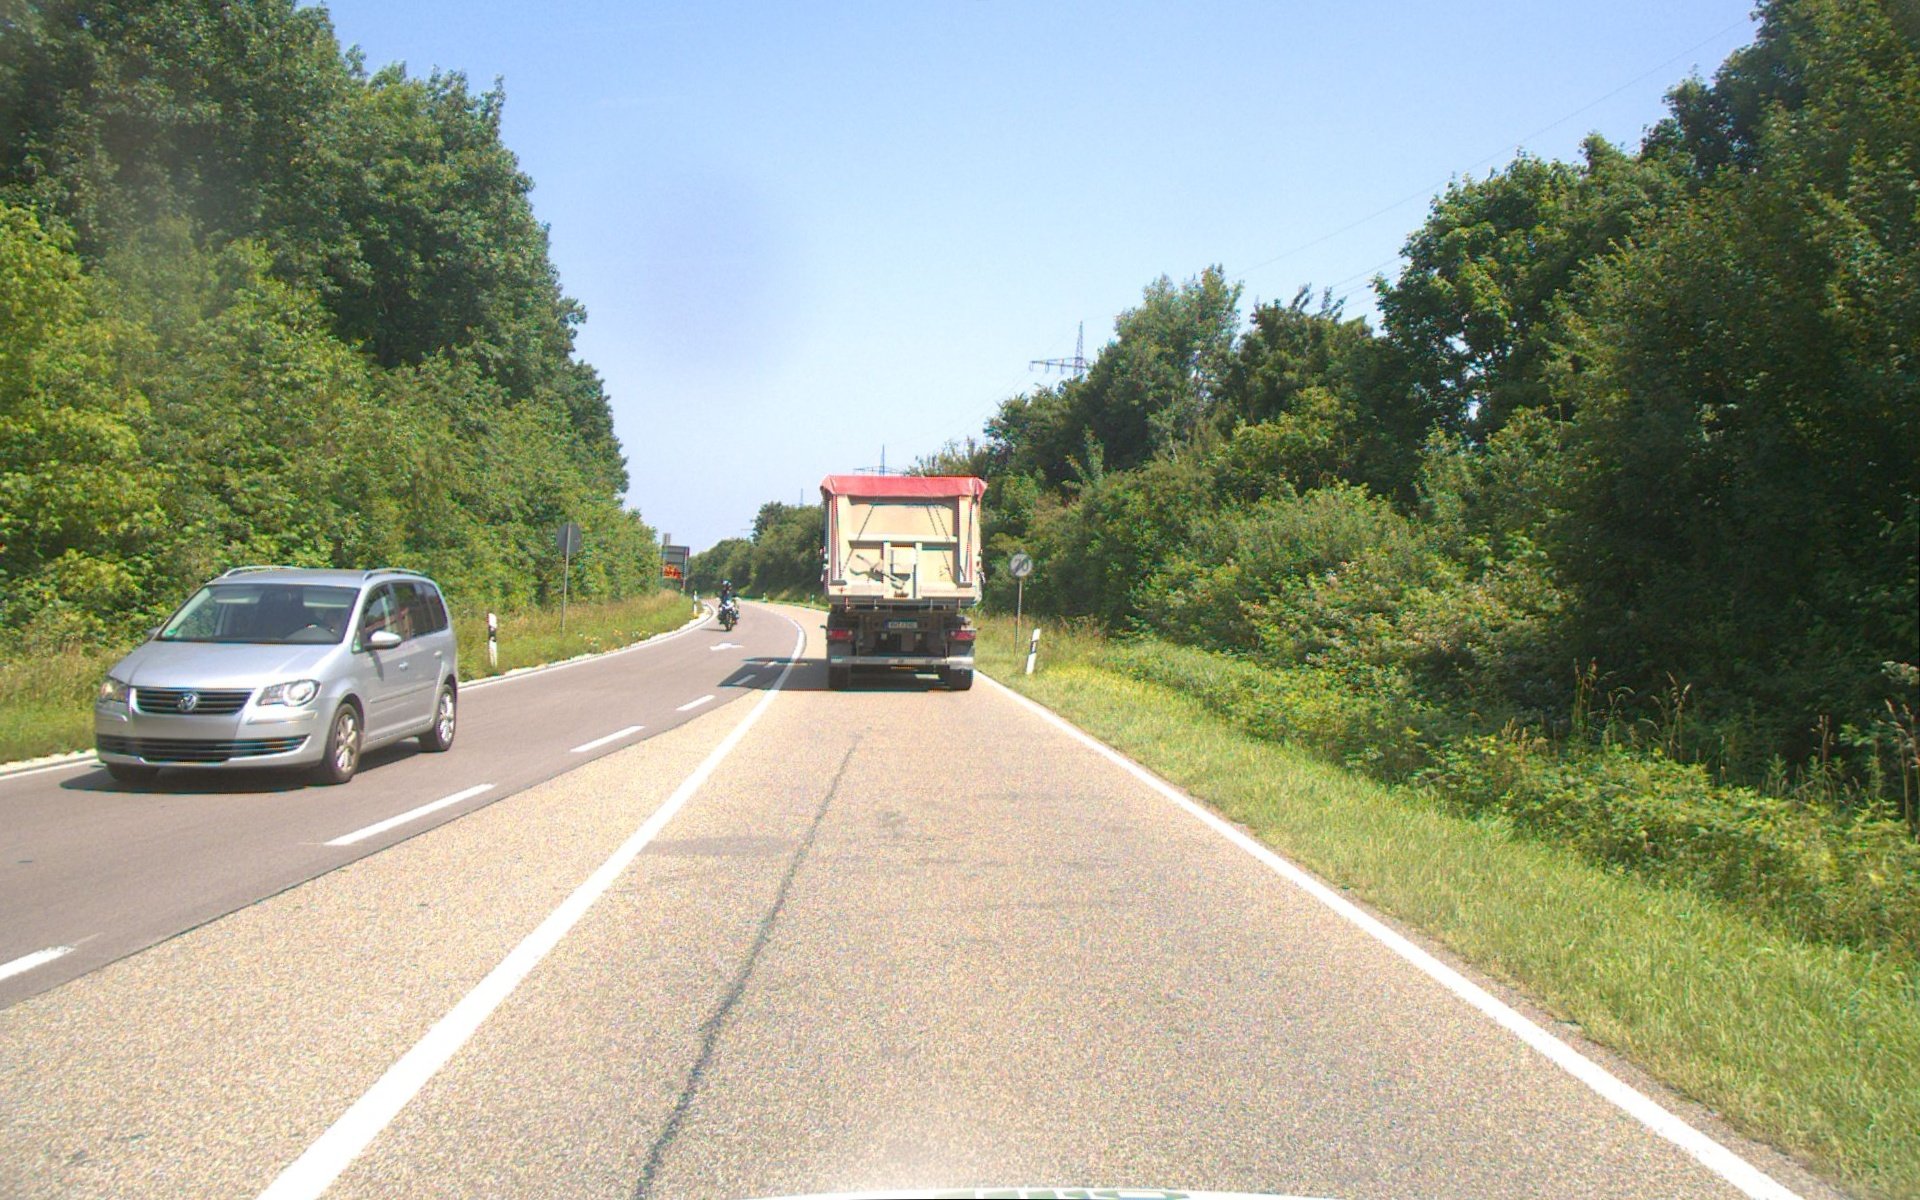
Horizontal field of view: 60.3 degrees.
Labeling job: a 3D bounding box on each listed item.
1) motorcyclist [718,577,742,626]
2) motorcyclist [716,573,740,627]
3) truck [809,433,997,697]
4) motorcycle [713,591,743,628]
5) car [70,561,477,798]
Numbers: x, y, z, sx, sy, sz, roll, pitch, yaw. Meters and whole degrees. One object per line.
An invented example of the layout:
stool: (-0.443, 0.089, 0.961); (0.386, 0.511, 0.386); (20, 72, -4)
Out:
motorcyclist: (-8.338, 0.052, 59.970); (0.814, 1.782, 0.622); (1, 0, -6)
motorcyclist: (-8.306, -0.003, 59.285); (0.804, 1.914, 0.656); (1, 0, -6)
truck: (-1.197, -0.595, 31.607); (2.836, 4.031, 11.925); (1, 0, -3)
motorcycle: (-8.350, 0.317, 59.664); (0.928, 1.272, 2.679); (1, 0, -5)
car: (-5.525, 0.565, 13.942); (1.766, 1.665, 4.210); (1, 0, -2)
